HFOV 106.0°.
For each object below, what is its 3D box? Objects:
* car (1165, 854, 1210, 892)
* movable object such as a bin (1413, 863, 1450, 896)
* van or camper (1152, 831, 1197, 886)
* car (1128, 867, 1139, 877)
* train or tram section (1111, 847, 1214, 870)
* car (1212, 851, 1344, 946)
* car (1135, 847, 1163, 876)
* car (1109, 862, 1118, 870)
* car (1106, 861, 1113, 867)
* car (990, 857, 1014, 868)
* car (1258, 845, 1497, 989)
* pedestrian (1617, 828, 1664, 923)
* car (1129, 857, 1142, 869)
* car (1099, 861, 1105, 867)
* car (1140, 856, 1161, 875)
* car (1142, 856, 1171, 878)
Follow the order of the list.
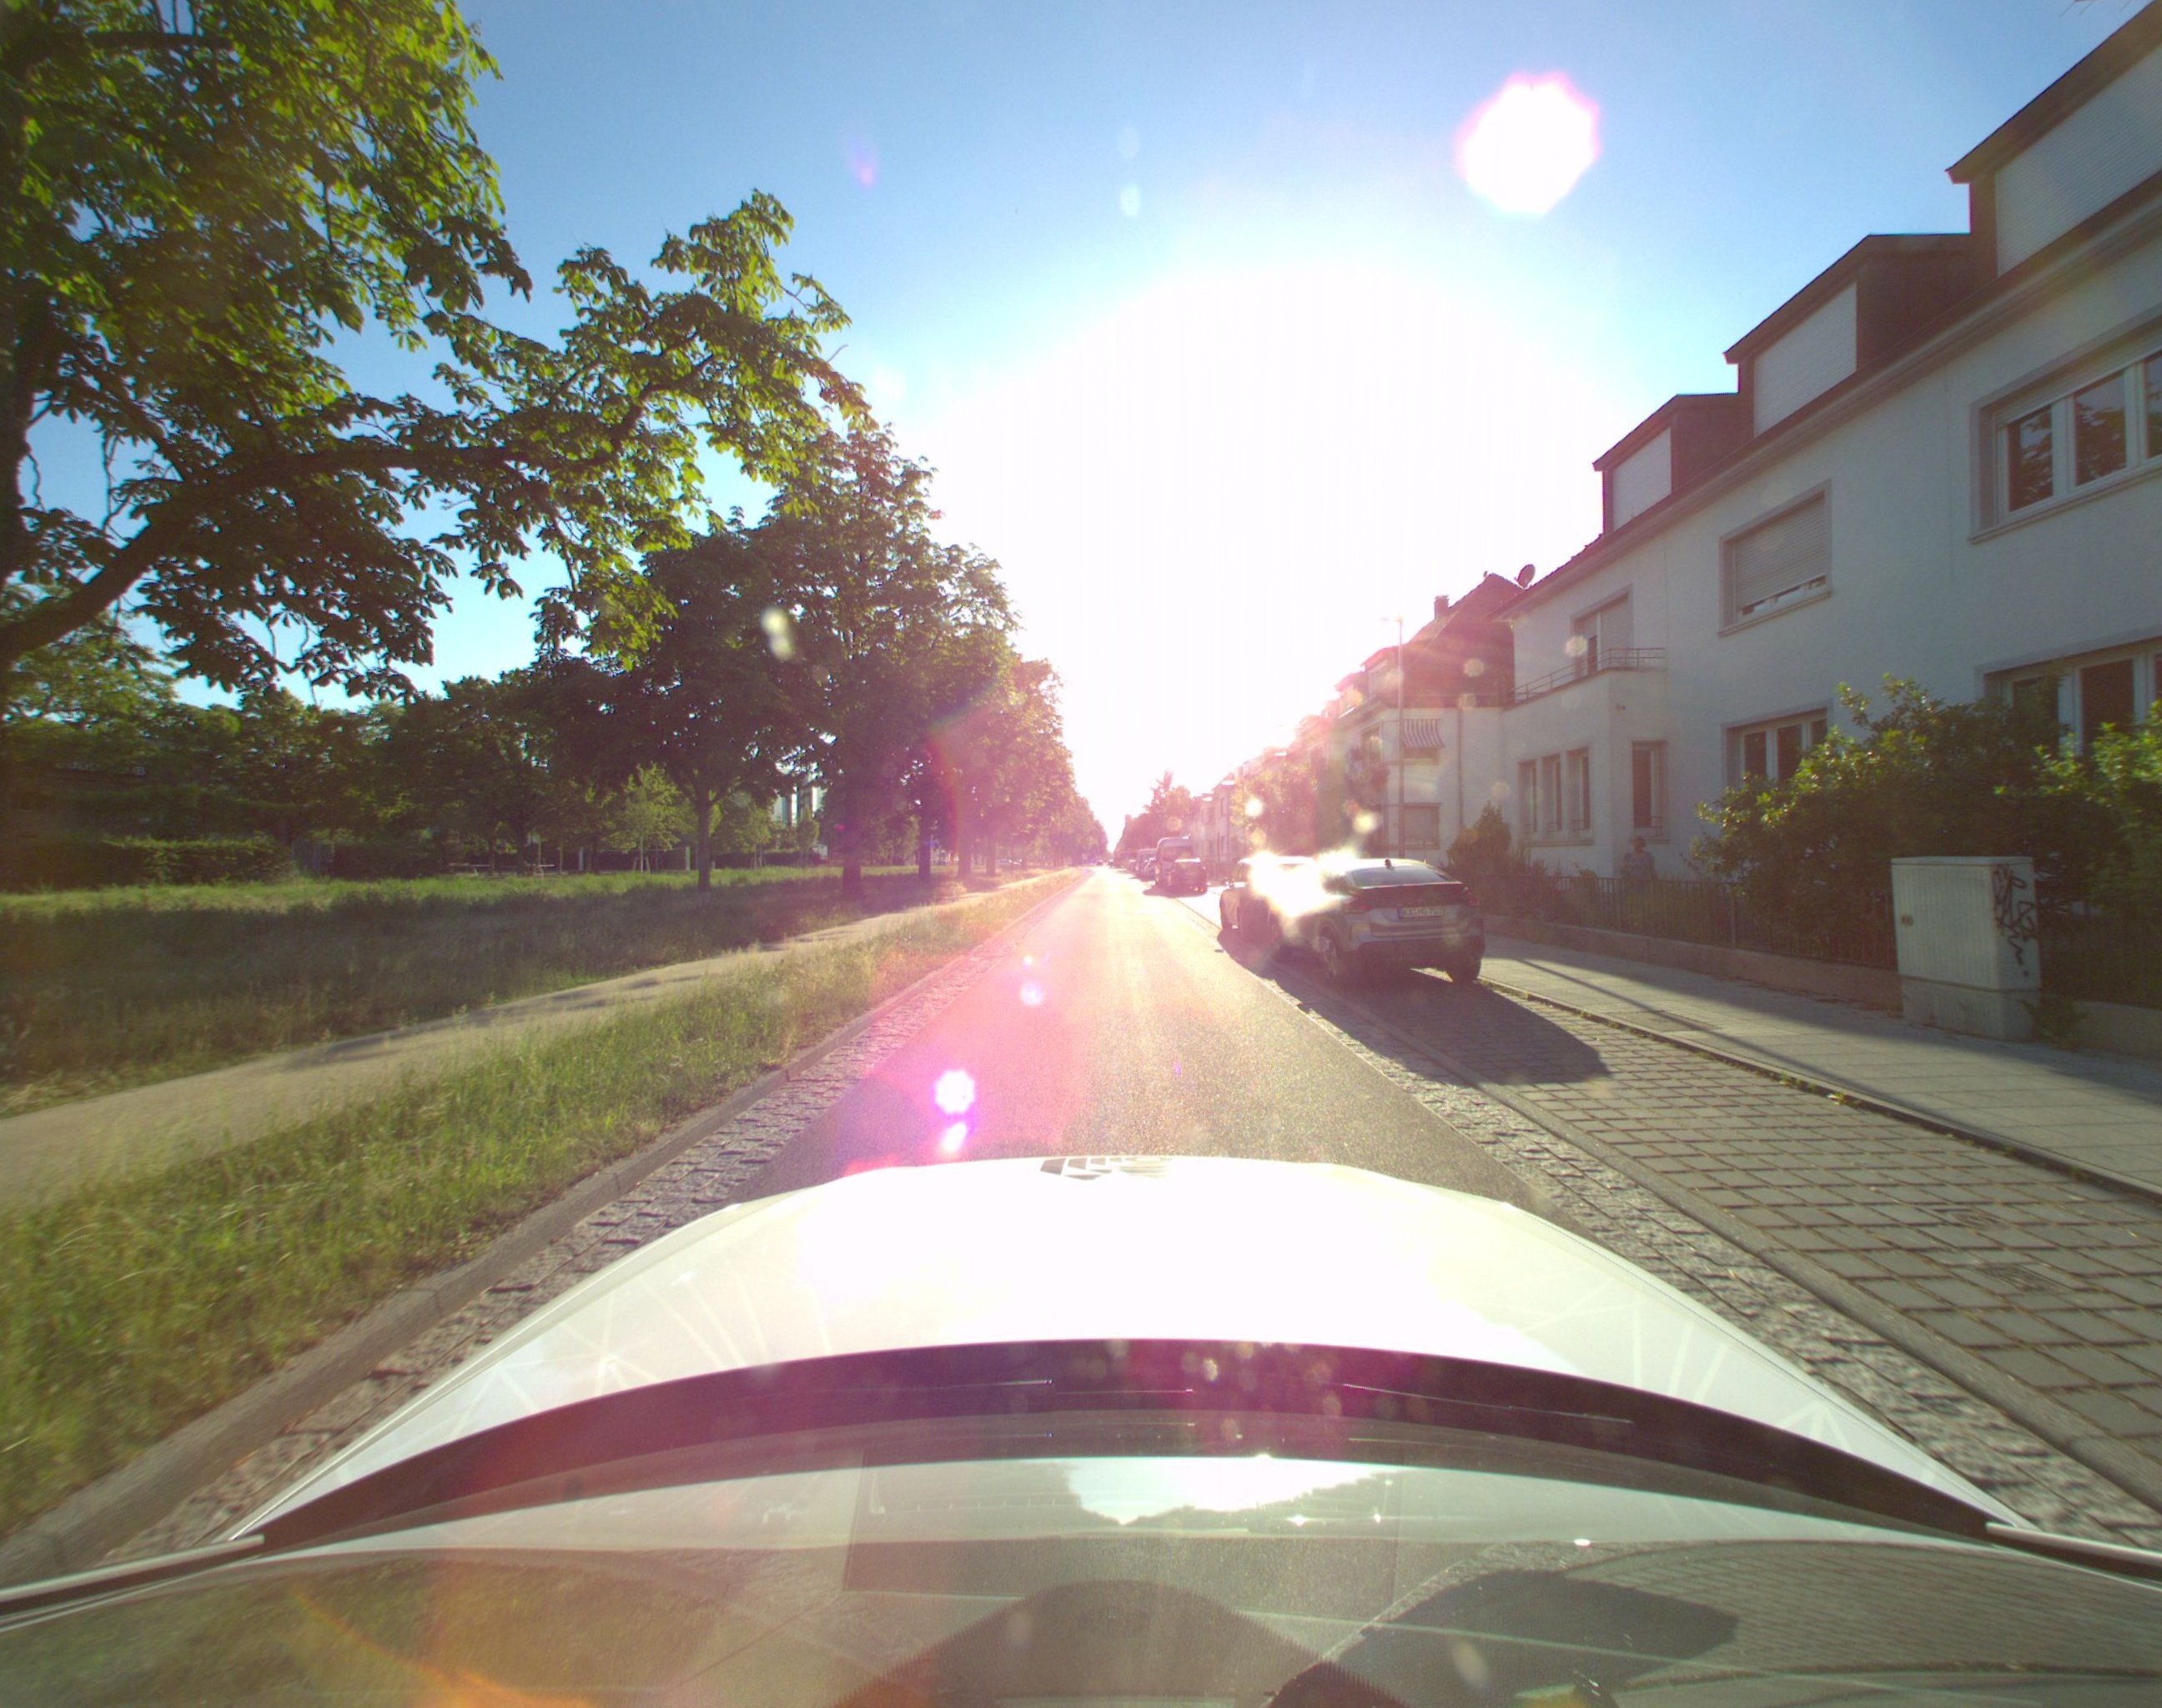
[{"bbox_3d":[4.902,0.879,37.920,1.657,1.593,4.088,-2,-1,2],"label":"car"},{"bbox_3d":[12.358,0.892,28.734,0.980,1.100,0.790,1,-2,5],"label":"movable object such as a bin"},{"bbox_3d":[5.017,0.308,44.356,1.936,2.778,5.942,1,-2,2],"label":"van or camper"},{"bbox_3d":[7.983,2.736,123.406,1.643,1.530,3.854,-1,-1,3],"label":"car"},{"bbox_3d":[15.789,0.944,159.070,19.734,3.957,3.640,2,-1,-3],"label":"train or tram section"},{"bbox_3d":[3.962,0.823,17.148,1.825,1.685,4.417,2,0,2],"label":"car"},{"bbox_3d":[6.190,0.692,74.660,2.119,2.533,5.188,-1,-1,0],"label":"car"},{"bbox_3d":[7.287,2.695,180.659,1.856,1.597,3.894,1,-1,1],"label":"car"},{"bbox_3d":[7.492,2.676,212.578,1.856,1.597,3.870,1,-1,1],"label":"car"},{"bbox_3d":[-14.402,1.581,148.034,4.341,1.764,1.995,2,-1,-7],"label":"car"},{"bbox_3d":[3.803,0.748,11.302,1.713,1.574,4.208,-2,-1,-1],"label":"car"},{"bbox_3d":[9.497,0.359,13.834,0.589,1.578,0.634,1,-2,28],"label":"pedestrian"},{"bbox_3d":[7.127,1.120,106.325,1.643,1.530,3.854,-1,-1,3],"label":"car"},{"bbox_3d":[5.938,2.942,230.707,1.856,1.597,3.870,1,-1,1],"label":"car"},{"bbox_3d":[5.785,0.948,68.048,1.643,1.530,3.854,-1,-1,3],"label":"car"},{"bbox_3d":[5.819,0.988,63.089,1.831,1.636,4.131,-1,-1,1],"label":"car"}]
